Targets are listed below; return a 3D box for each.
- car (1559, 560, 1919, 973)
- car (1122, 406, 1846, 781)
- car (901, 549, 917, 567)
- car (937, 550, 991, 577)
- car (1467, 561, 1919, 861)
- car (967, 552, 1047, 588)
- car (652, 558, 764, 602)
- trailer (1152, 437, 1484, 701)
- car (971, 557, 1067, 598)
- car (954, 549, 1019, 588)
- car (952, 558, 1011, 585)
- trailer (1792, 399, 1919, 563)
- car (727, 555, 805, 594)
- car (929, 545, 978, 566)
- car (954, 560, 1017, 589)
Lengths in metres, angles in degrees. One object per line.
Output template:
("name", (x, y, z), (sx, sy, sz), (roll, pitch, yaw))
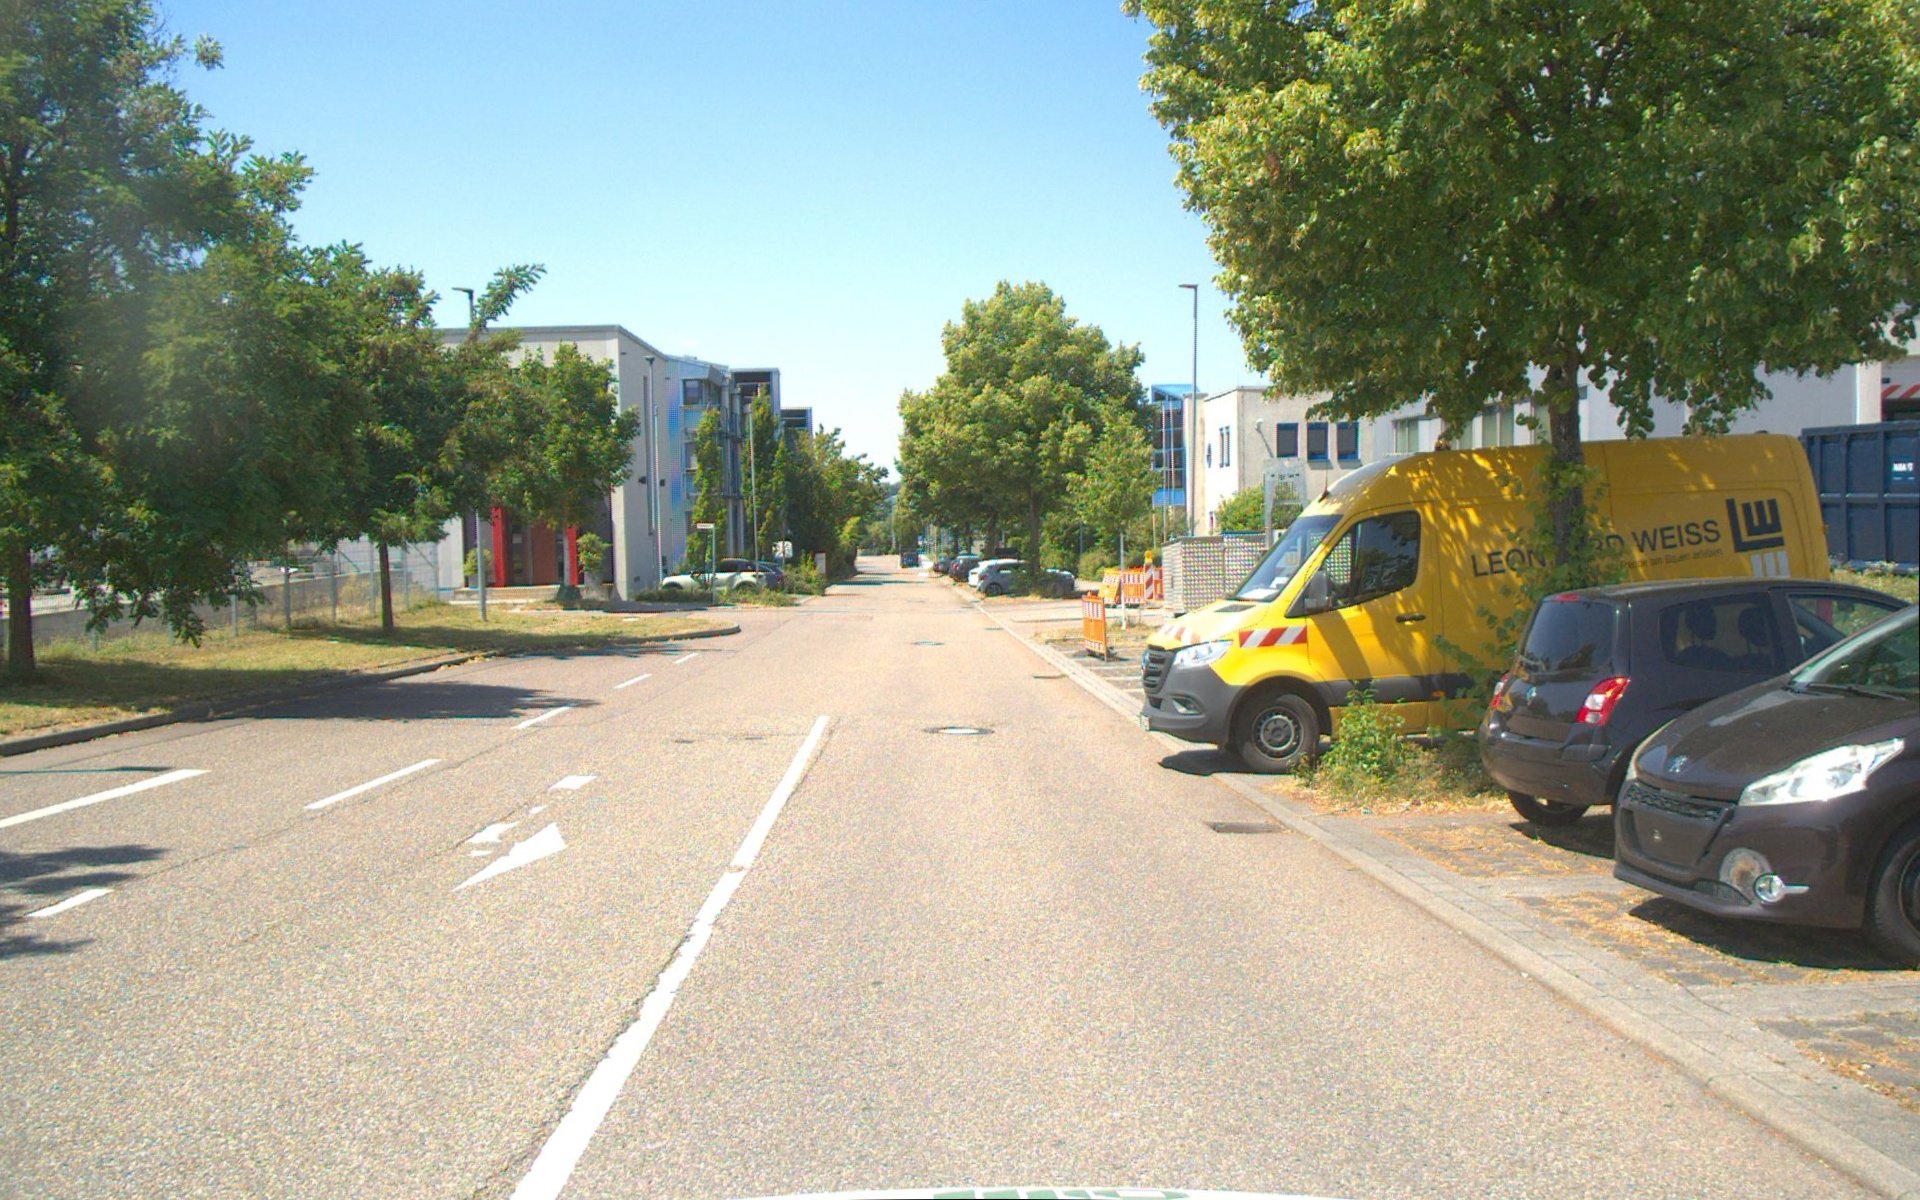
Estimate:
("car", (4.788, 0.584, 7.285), (3.696, 1.533, 1.589), (-2, 1, -5))
("car", (4.441, -0.106, 14.540), (5.666, 2.779, 1.999), (-3, 2, -4))
("car", (-5.459, -4.503, 177.449), (1.725, 1.786, 3.944), (-1, 1, -1))
("car", (0.300, -2.773, 126.300), (3.860, 1.866, 1.764), (-1, 5, -10))
("car", (5.013, 0.558, 9.703), (3.531, 1.504, 1.627), (-2, 1, -4))
("car", (2.160, -1.396, 76.542), (3.450, 1.377, 1.536), (-4, 2, -7))
("car", (-9.278, -0.747, 61.130), (3.967, 1.521, 1.727), (-1, 1, -5))
("trailer", (4.482, -0.425, 21.898), (2.605, 2.906, 5.514), (-3, 1, -6))
("car", (2.373, -0.910, 66.820), (3.609, 1.377, 1.643), (-4, 2, -7))
("car", (1.512, -1.817, 95.472), (3.647, 2.147, 1.813), (-1, 1, -3))
("car", (1.335, -1.812, 104.372), (3.647, 1.655, 1.813), (-1, 1, -3))
("trailer", (15.716, -1.797, 24.877), (2.604, 2.461, 7.418), (-1, 5, 0))
("car", (-7.719, -1.028, 65.718), (3.001, 1.504, 1.290), (-1, 1, -9))
("car", (-0.571, -3.745, 138.306), (3.860, 1.604, 1.764), (-1, 5, -10))
("car", (1.497, -1.519, 99.054), (3.647, 1.655, 1.813), (-1, 1, -3))
